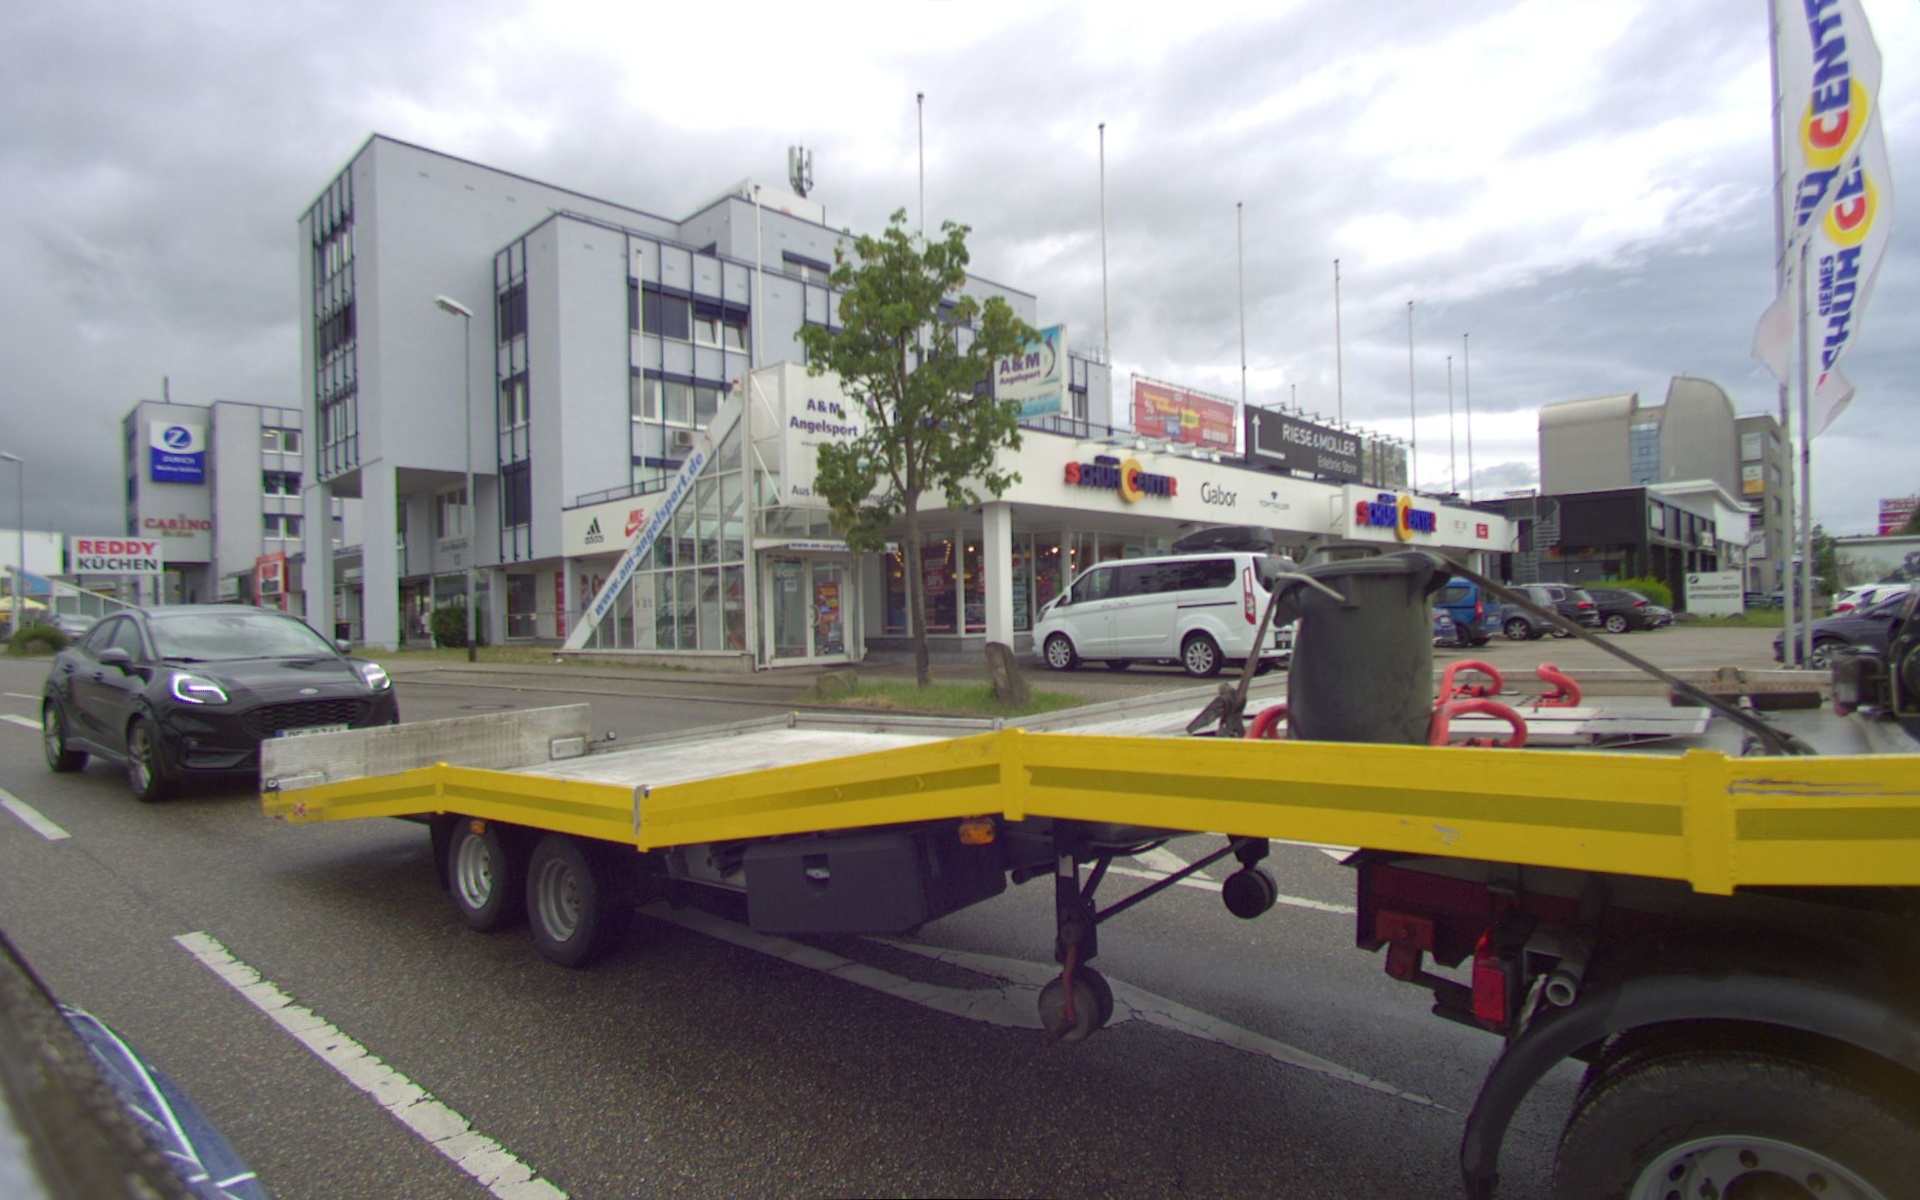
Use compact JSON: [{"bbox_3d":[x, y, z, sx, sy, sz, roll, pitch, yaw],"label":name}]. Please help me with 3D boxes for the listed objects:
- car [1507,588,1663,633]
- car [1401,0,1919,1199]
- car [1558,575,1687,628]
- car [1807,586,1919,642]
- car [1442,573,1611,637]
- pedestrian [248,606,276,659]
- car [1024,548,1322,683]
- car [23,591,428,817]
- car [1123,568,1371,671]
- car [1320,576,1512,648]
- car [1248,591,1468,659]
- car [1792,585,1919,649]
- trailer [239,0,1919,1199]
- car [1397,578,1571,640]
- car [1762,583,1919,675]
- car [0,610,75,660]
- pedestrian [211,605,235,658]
[{"bbox_3d":[21.959,0.367,35.654,4.377,1.509,1.869,-1,-1,44],"label":"car"},{"bbox_3d":[3.411,0.096,1.083,5.010,2.493,2.217,0,-1,39],"label":"car"},{"bbox_3d":[26.637,0.064,40.789,1.882,2.029,4.004,0,-1,-43],"label":"car"},{"bbox_3d":[24.274,0.347,25.689,4.128,1.404,1.797,-1,-1,44],"label":"car"},{"bbox_3d":[18.075,0.176,32.406,4.377,1.920,1.869,-1,-1,44],"label":"car"},{"bbox_3d":[-23.774,1.096,34.471,0.634,1.756,0.590,-1,0,-17],"label":"pedestrian"},{"bbox_3d":[3.560,0.261,17.635,1.970,2.029,4.791,1,-1,-44],"label":"car"},{"bbox_3d":[-6.619,0.748,8.990,3.993,1.552,1.792,-1,0,37],"label":"car"},{"bbox_3d":[5.585,0.370,20.080,4.377,1.834,1.869,-1,-1,44],"label":"car"},{"bbox_3d":[12.275,0.326,27.443,4.377,1.777,1.869,-1,-1,44],"label":"car"},{"bbox_3d":[9.060,0.547,23.275,4.377,1.404,1.797,-1,-1,44],"label":"car"},{"bbox_3d":[21.618,0.380,22.926,4.128,1.404,1.872,-1,-1,44],"label":"car"},{"bbox_3d":[-0.406,0.152,4.252,7.963,2.493,2.280,0,-1,39],"label":"trailer"},{"bbox_3d":[15.921,0.277,30.895,4.377,1.777,1.869,-1,-1,44],"label":"car"},{"bbox_3d":[15.425,0.439,15.937,1.795,1.404,4.132,0,-1,-42],"label":"car"},{"bbox_3d":[-33.155,1.246,36.110,3.998,1.622,1.799,-2,0,41],"label":"car"},{"bbox_3d":[-24.374,1.026,33.468,0.519,1.720,0.543,-1,0,43],"label":"pedestrian"}]
